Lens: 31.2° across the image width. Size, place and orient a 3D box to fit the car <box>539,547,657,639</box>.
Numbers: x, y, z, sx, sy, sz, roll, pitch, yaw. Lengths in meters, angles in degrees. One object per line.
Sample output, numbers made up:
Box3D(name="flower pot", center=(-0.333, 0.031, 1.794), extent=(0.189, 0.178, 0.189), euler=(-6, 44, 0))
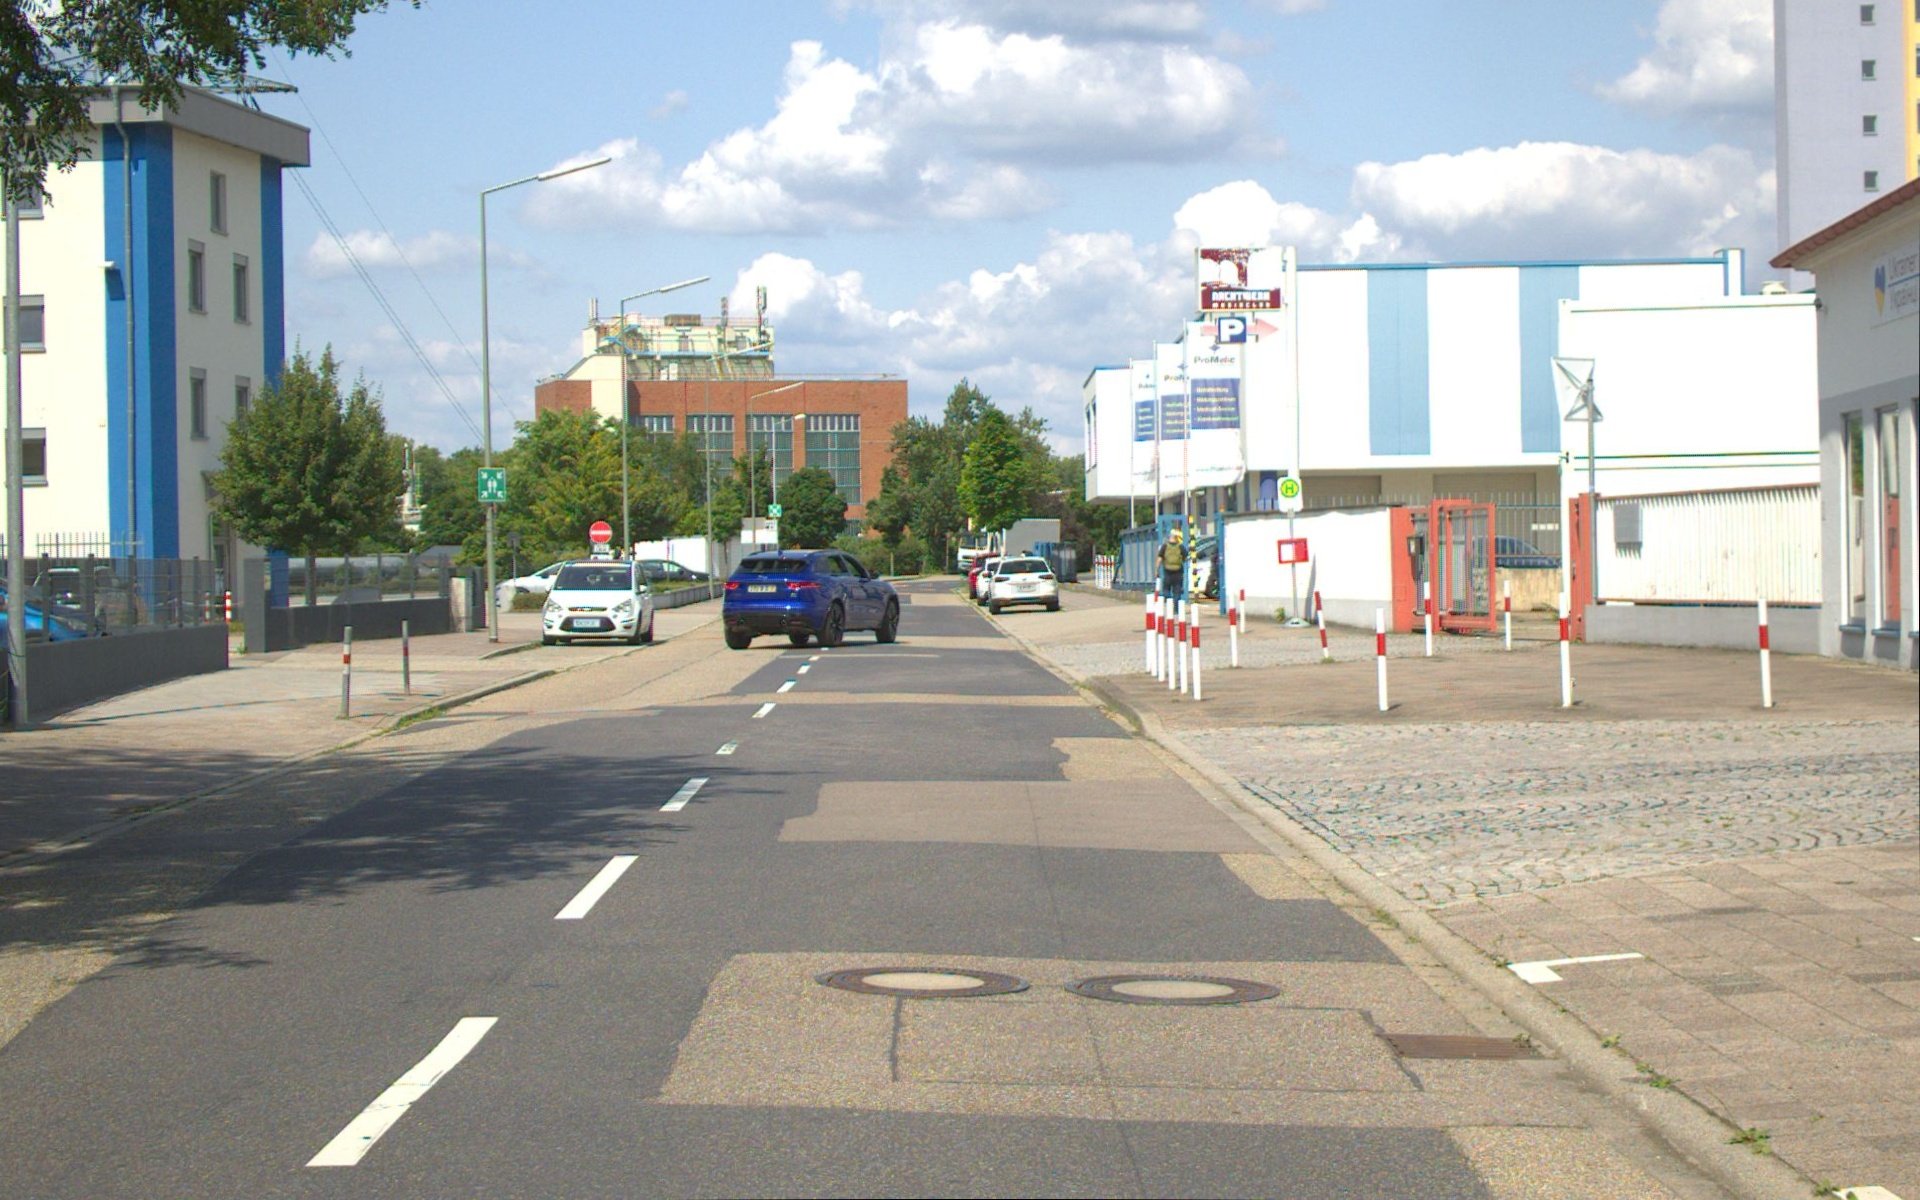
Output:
Box3D(name="car", center=(-6.925, -0.156, 66.186), extent=(1.867, 1.702, 4.753), euler=(0, 1, -1))

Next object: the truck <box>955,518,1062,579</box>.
Box3D(name="truck", center=(3.029, -3.197, 210.805), extent=(2.325, 3.555, 9.352), euler=(1, 2, 30))

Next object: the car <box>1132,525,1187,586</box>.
Box3D(name="car", center=(8.226, -1.829, 142.379), extent=(1.924, 2.455, 5.260), euler=(0, 1, -1))

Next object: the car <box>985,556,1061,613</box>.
Box3D(name="car", center=(1.674, -0.432, 92.961), extent=(1.867, 1.515, 4.598), euler=(0, 1, -1))

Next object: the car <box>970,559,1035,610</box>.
Box3D(name="car", center=(1.282, -0.500, 105.651), extent=(1.835, 1.515, 4.461), euler=(0, 1, -1))

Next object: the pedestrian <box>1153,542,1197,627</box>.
Box3D(name="pedestrian", center=(4.566, -0.337, 73.019), extent=(0.769, 1.750, 0.787), euler=(-3, 0, -1))

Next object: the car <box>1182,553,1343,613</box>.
Box3D(name="car", center=(7.834, -0.447, 89.260), extent=(3.987, 1.415, 2.000), euler=(-2, 1, 0))

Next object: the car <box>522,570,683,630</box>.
Box3D(name="car", center=(-10.871, -0.004, 104.914), extent=(4.754, 1.597, 2.000), euler=(-2, 1, -4))

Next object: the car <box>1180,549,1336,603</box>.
Box3D(name="car", center=(8.569, -0.703, 99.190), extent=(4.279, 1.415, 2.000), euler=(-2, 1, 0))

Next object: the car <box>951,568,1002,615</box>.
Box3D(name="car", center=(0.618, -0.320, 124.605), extent=(1.755, 1.645, 4.677), euler=(0, 1, 1))

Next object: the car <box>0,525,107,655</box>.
Box3D(name="car", center=(-13.546, -0.117, 46.258), extent=(3.647, 1.702, 1.879), euler=(-1, 1, -1))

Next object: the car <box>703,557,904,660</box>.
Box3D(name="car", center=(-2.642, 0.115, 59.323), extent=(1.911, 1.588, 4.697), euler=(-2, 1, 18))
